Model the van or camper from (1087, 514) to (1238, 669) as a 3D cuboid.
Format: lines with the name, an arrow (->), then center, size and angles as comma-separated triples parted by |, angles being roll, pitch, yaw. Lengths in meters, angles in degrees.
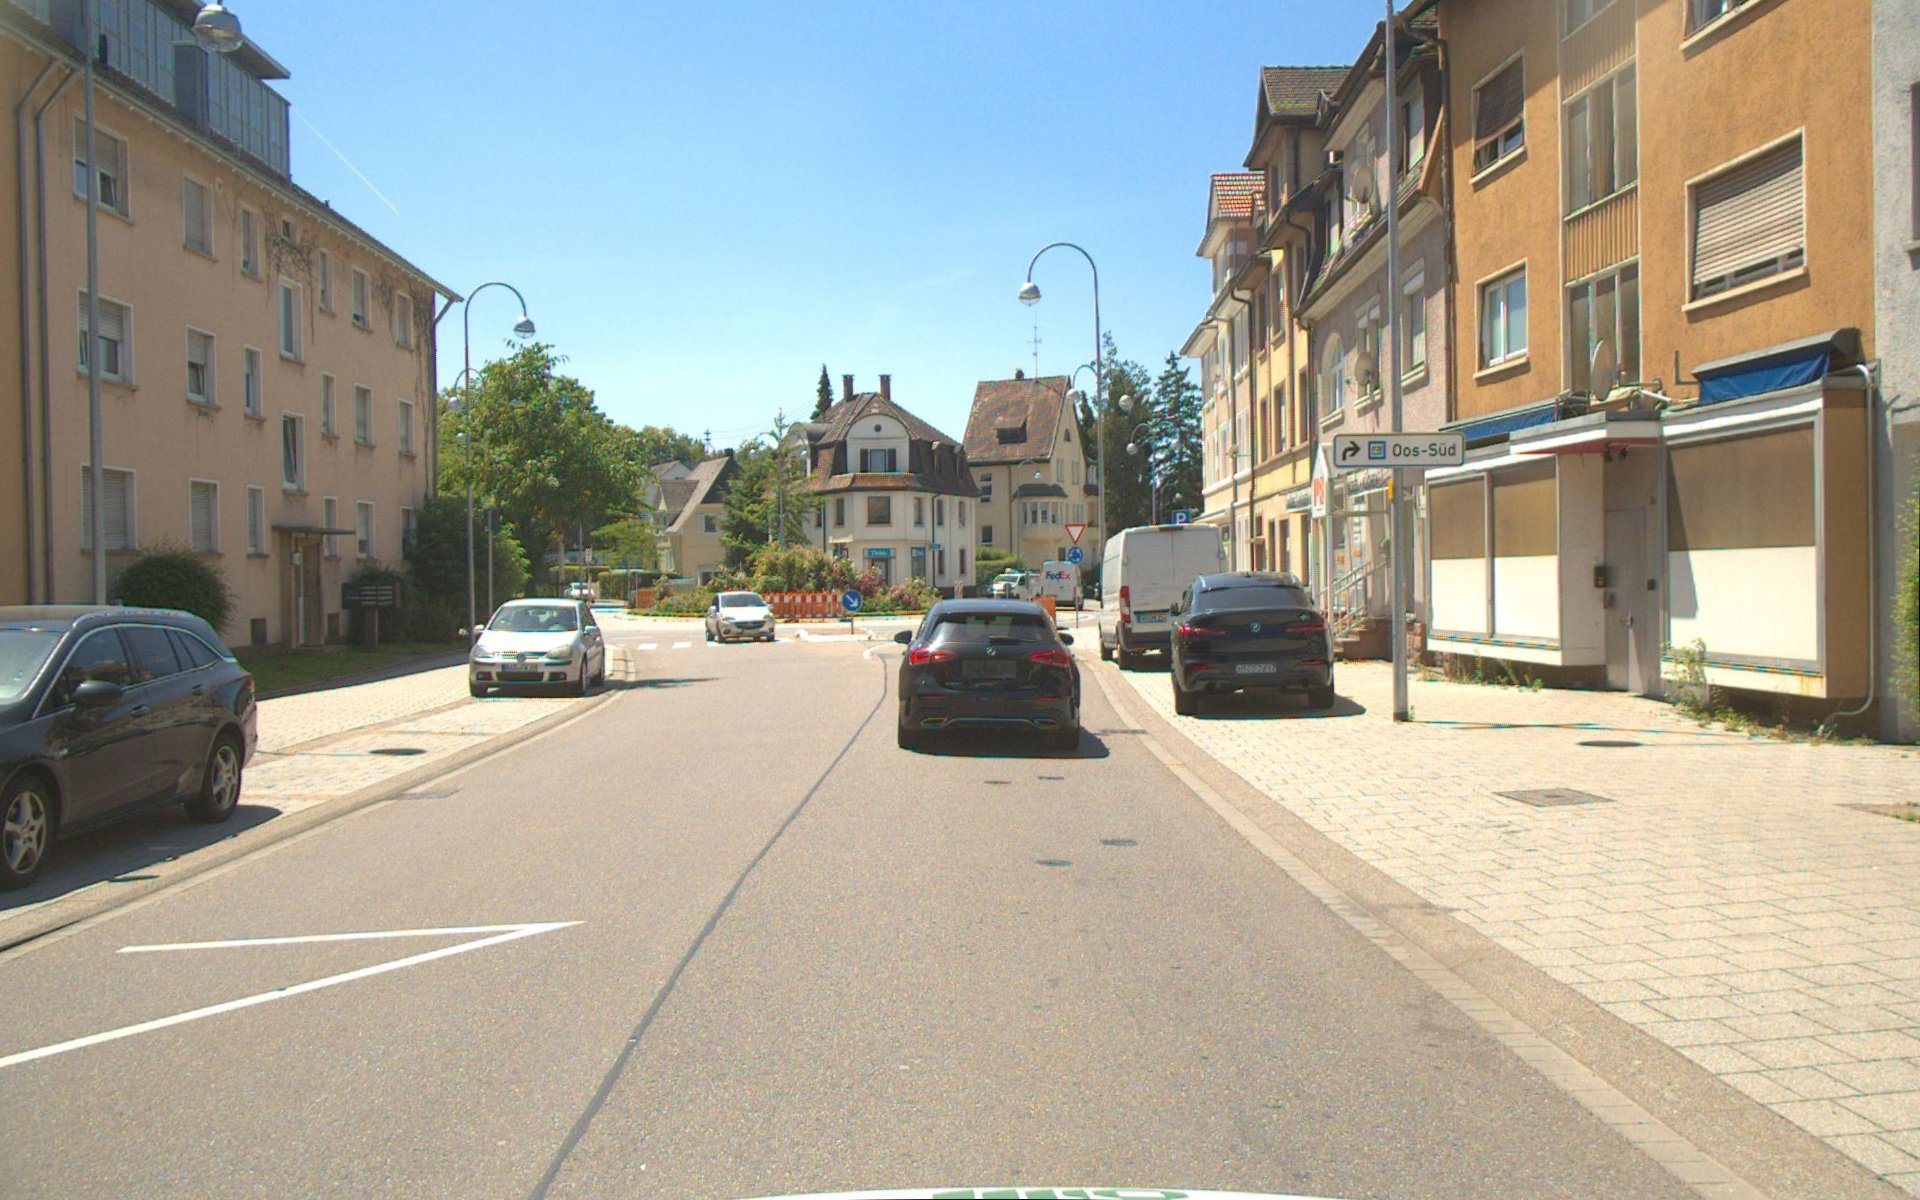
van or camper -> 3.779, -0.183, 31.983 | 2.120, 2.634, 5.766 | -2, 1, 0

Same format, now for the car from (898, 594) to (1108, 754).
car -> 0.359, 0.694, 17.121 | 1.913, 1.452, 3.999 | 0, -1, -1

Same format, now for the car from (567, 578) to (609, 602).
car -> -27.882, -0.767, 124.054 | 1.747, 1.625, 3.923 | -1, -2, 8

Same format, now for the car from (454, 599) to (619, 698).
car -> -6.734, 0.720, 26.720 | 1.955, 1.445, 4.084 | 0, 0, -6

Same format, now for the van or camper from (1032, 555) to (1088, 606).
van or camper -> 5.390, -1.071, 88.885 | 2.159, 2.656, 4.003 | -1, 1, 16

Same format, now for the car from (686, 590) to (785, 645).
car -> -6.716, 0.518, 49.157 | 1.642, 1.522, 3.722 | -2, 0, -29

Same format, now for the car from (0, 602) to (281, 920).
car -> -5.892, 0.832, 10.062 | 1.820, 1.533, 4.560 | 1, 1, -3

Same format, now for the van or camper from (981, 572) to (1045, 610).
van or camper -> 3.333, -0.537, 102.566 | 1.954, 2.210, 5.408 | 1, 0, 26

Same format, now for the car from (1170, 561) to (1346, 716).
car -> 3.593, 0.417, 20.613 | 1.855, 1.635, 4.368 | -3, 0, 7
